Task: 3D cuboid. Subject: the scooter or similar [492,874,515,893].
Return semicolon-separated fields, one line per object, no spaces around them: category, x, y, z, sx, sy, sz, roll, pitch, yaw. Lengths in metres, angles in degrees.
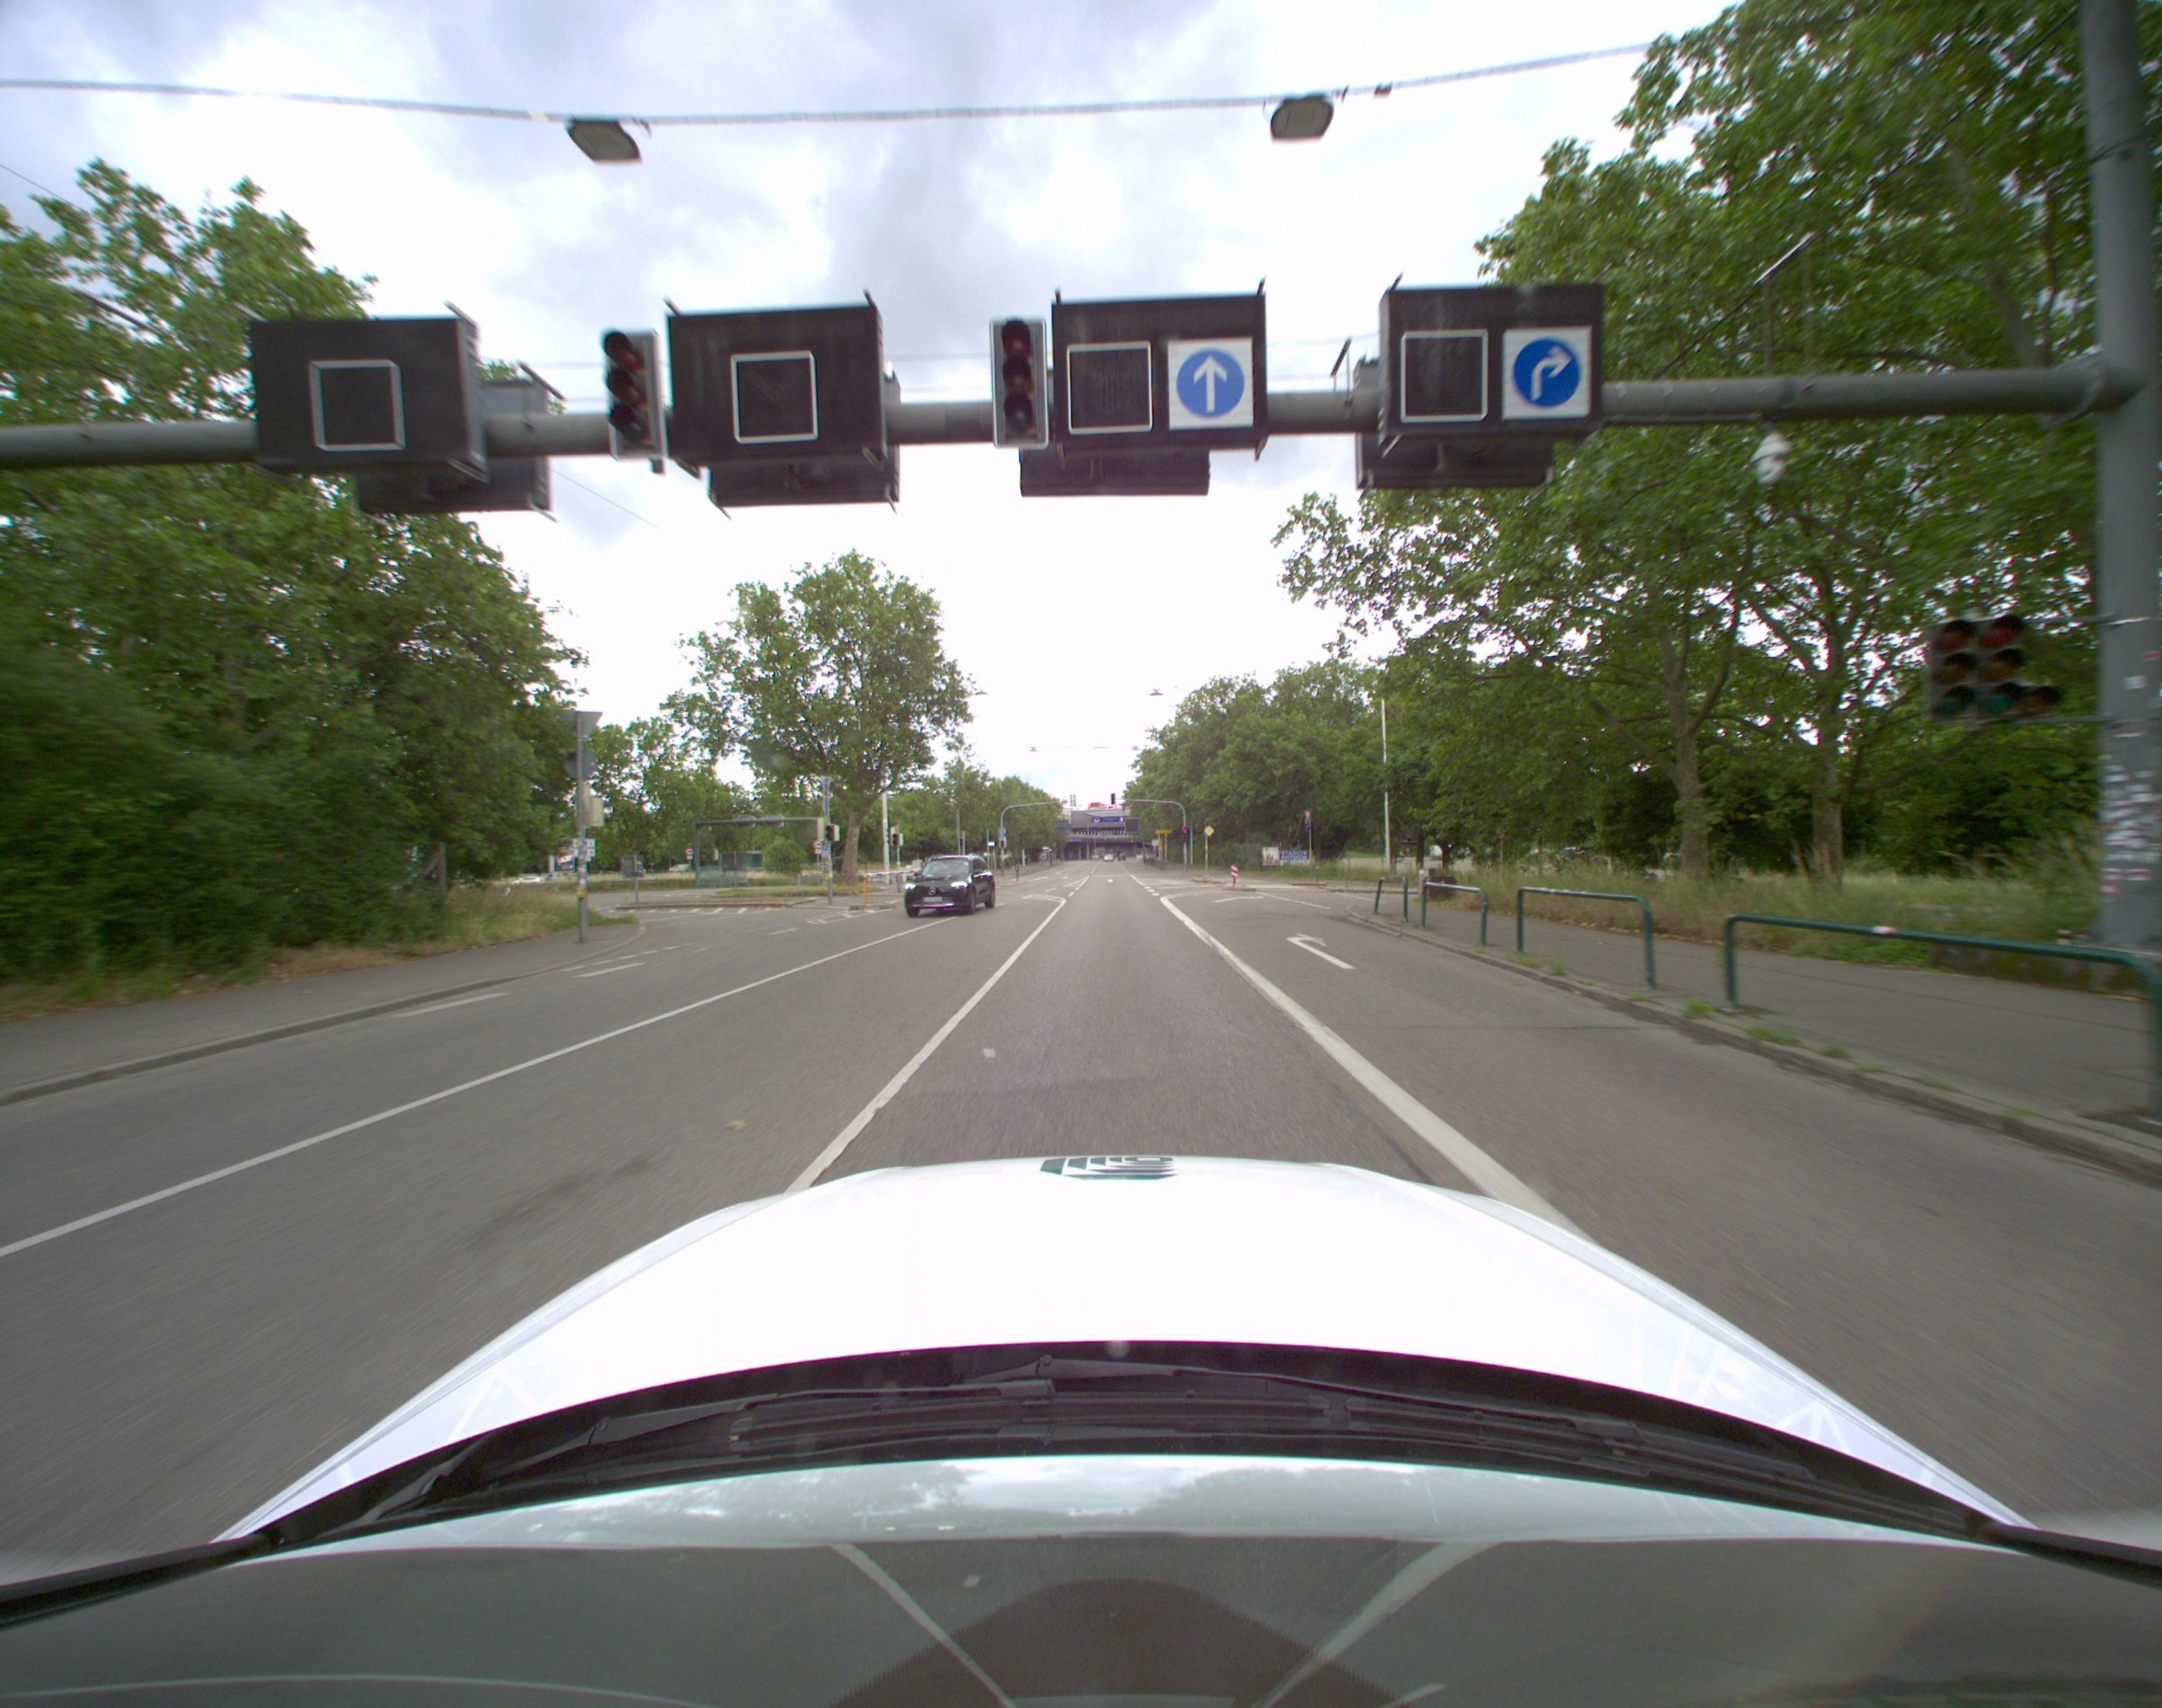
scooter or similar;-36.949;1.882;52.102;0.412;1.221;1.224;-1;0;14

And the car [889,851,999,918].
car;-3.803;0.803;23.508;1.984;1.660;4.523;-3;0;5

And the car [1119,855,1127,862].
car;10.694;1.128;208.637;1.999;1.698;4.073;-1;0;3

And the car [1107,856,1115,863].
car;6.894;1.264;185.044;1.771;1.460;3.825;0;0;3

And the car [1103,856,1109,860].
car;6.005;0.962;193.685;1.406;1.113;3.039;-1;0;2
